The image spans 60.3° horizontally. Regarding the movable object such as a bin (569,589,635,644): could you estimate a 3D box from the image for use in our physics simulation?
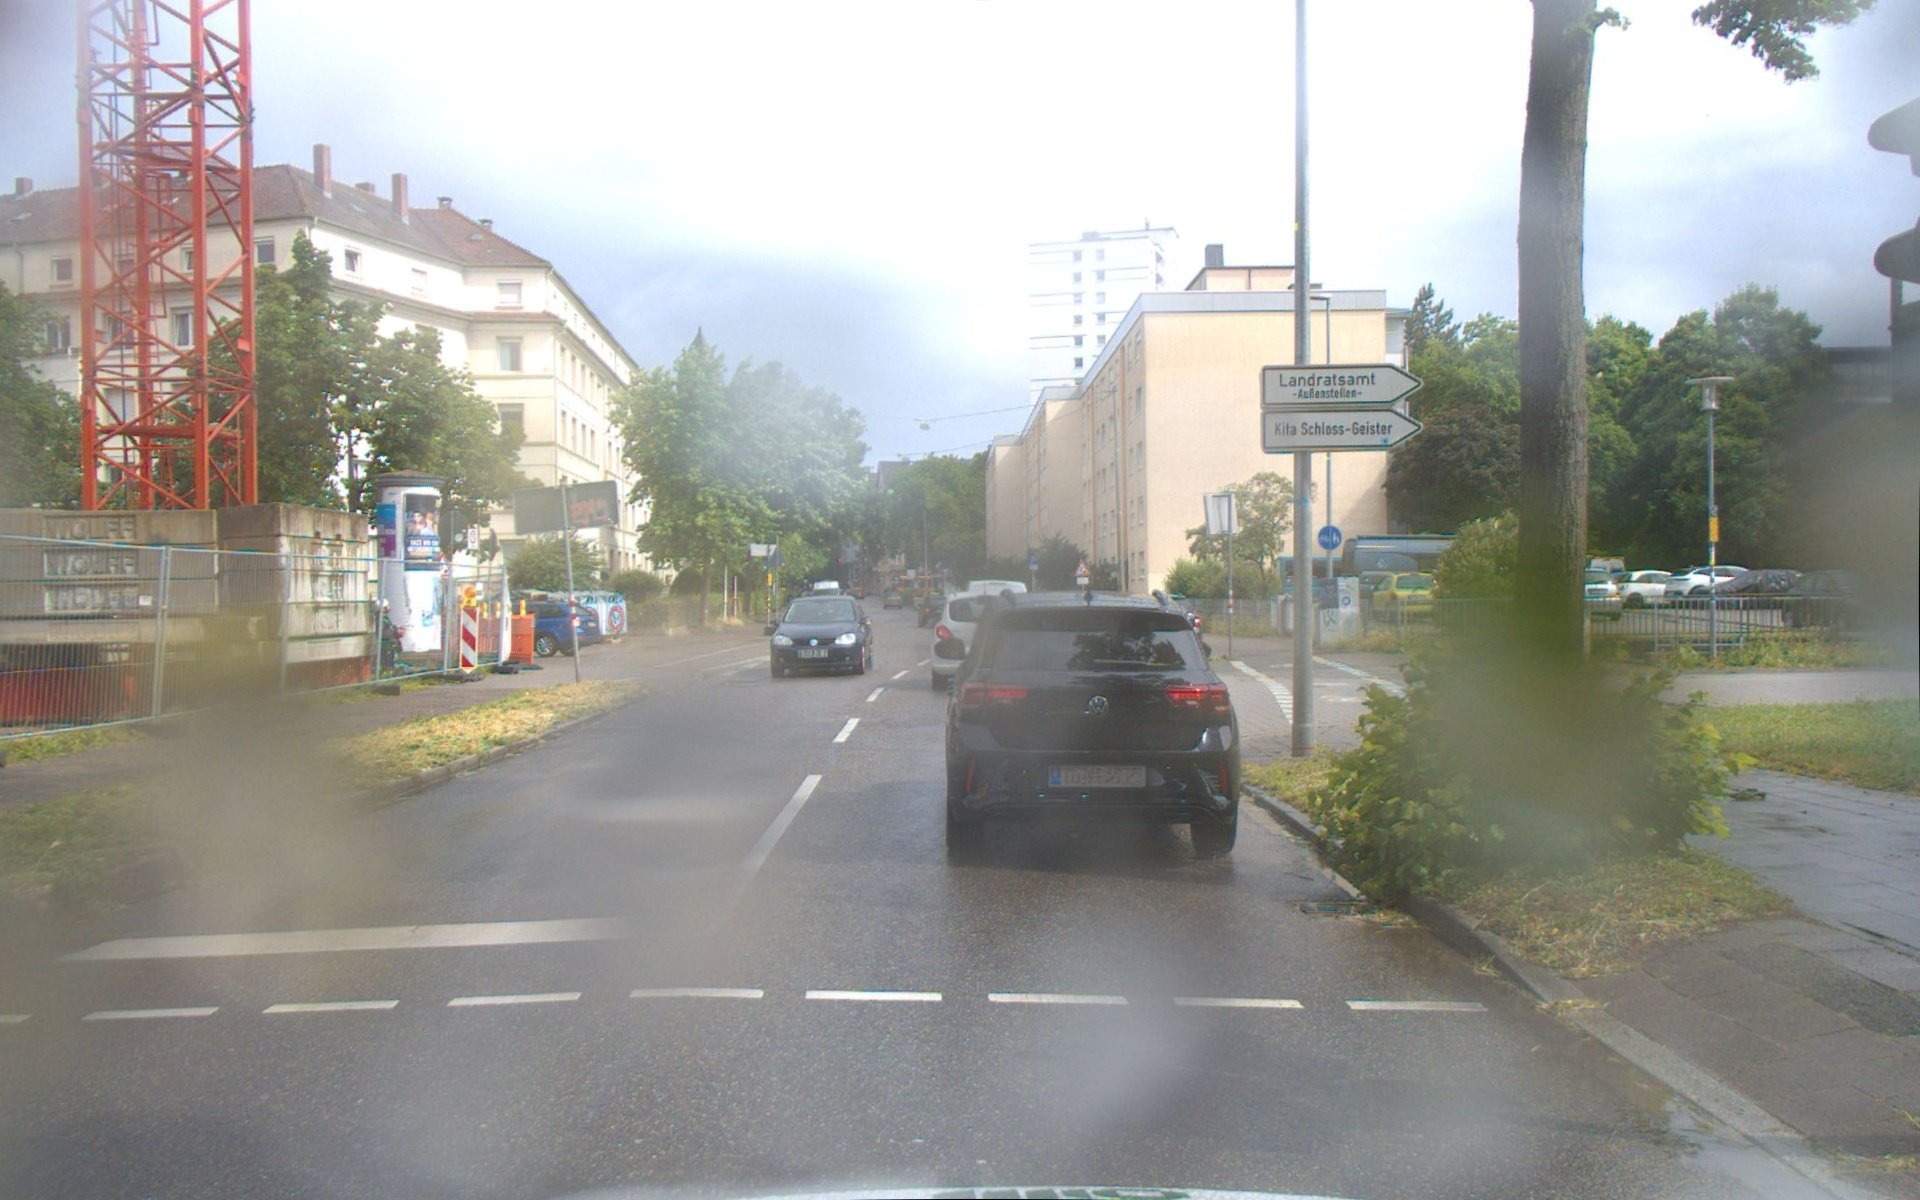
[{"bbox_3d":[-11.578,0.521,53.550,1.505,1.691,1.459,-1,1,18],"label":"movable object such as a bin"}]

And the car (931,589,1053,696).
[{"bbox_3d":[0.456,0.644,26.224,1.776,1.529,3.999,1,-1,0],"label":"car"}]

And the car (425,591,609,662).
[{"bbox_3d":[-11.881,0.694,44.477,4.338,1.612,1.824,-2,2,9],"label":"car"}]

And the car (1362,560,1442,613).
[{"bbox_3d":[13.225,-0.400,49.691,1.577,1.474,3.418,-2,0,2],"label":"car"}]

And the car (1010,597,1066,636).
[{"bbox_3d":[3.105,0.632,66.293,1.683,1.478,4.255,1,0,-5],"label":"car"}]

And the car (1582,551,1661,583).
[{"bbox_3d":[31.730,-1.558,79.382,3.158,1.422,1.509,-2,0,3],"label":"car"}]

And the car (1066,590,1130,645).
[{"bbox_3d":[4.099,0.550,49.571,1.720,1.554,4.001,1,-1,2],"label":"car"}]

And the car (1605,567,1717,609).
[{"bbox_3d":[26.881,-0.456,63.508,3.590,1.512,1.640,-2,0,3],"label":"car"}]

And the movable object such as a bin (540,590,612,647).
[{"bbox_3d":[-12.062,0.580,52.028,1.505,1.703,1.666,-1,1,18],"label":"movable object such as a bin"}]

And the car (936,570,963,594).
[{"bbox_3d":[-0.736,-1.260,117.450,1.803,1.636,3.675,-2,0,1],"label":"car"}]

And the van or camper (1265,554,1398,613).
[{"bbox_3d":[14.228,-0.635,63.576,4.660,2.168,2.323,-1,0,3],"label":"van or camper"}]

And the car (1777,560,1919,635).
[{"bbox_3d":[20.431,-0.076,37.549,1.790,1.553,4.425,-2,0,4],"label":"car"}]

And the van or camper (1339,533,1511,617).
[{"bbox_3d":[14.927,-0.774,53.306,4.895,2.599,2.175,-1,-1,1],"label":"van or camper"}]

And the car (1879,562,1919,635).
[{"bbox_3d":[23.276,-0.053,38.304,1.814,1.708,4.426,-2,0,5],"label":"car"}]

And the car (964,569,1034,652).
[{"bbox_3d":[1.079,0.308,45.415,1.798,2.140,4.000,1,-1,1],"label":"car"}]

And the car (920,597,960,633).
[{"bbox_3d":[-0.938,0.684,75.619,1.573,1.536,3.545,-2,0,-4],"label":"car"}]

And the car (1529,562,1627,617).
[{"bbox_3d":[18.312,-0.306,49.149,1.614,1.512,3.719,-2,0,2],"label":"car"}]

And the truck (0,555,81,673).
[{"bbox_3d":[-30.744,0.509,47.413,9.603,3.240,3.795,-2,0,13],"label":"truck"}]

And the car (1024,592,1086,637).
[{"bbox_3d":[3.443,0.564,60.595,1.714,1.534,4.108,-1,-2,-4],"label":"car"}]

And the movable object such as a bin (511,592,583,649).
[{"bbox_3d":[-12.576,0.617,50.459,1.505,1.685,1.528,-1,1,18],"label":"movable object such as a bin"}]

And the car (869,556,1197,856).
[{"bbox_3d":[0.397,0.619,11.406,1.835,1.674,4.061,1,-1,-1],"label":"car"}]

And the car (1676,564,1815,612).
[{"bbox_3d":[26.613,-0.421,56.107,3.892,1.491,1.673,-2,0,1],"label":"car"}]

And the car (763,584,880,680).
[{"bbox_3d":[-2.577,0.566,31.619,1.803,1.636,4.000,-2,0,1],"label":"car"}]

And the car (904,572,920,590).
[{"bbox_3d":[-5.239,-2.045,180.047,1.632,1.870,3.998,-2,0,-3],"label":"car"}]

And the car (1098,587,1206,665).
[{"bbox_3d":[4.327,0.553,37.832,1.738,1.566,4.376,-3,0,-2],"label":"car"}]

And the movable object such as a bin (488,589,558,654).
[{"bbox_3d":[-12.911,0.626,48.914,1.505,1.856,1.264,-1,1,18],"label":"movable object such as a bin"}]

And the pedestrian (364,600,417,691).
[{"bbox_3d":[-10.528,0.839,30.555,0.716,1.658,0.675,2,-1,-38],"label":"pedestrian"}]

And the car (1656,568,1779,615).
[{"bbox_3d":[26.645,-0.303,58.252,3.590,1.512,1.640,-2,0,3],"label":"car"}]

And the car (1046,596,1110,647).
[{"bbox_3d":[3.867,0.683,54.680,1.572,1.534,4.157,-3,0,-3],"label":"car"}]
